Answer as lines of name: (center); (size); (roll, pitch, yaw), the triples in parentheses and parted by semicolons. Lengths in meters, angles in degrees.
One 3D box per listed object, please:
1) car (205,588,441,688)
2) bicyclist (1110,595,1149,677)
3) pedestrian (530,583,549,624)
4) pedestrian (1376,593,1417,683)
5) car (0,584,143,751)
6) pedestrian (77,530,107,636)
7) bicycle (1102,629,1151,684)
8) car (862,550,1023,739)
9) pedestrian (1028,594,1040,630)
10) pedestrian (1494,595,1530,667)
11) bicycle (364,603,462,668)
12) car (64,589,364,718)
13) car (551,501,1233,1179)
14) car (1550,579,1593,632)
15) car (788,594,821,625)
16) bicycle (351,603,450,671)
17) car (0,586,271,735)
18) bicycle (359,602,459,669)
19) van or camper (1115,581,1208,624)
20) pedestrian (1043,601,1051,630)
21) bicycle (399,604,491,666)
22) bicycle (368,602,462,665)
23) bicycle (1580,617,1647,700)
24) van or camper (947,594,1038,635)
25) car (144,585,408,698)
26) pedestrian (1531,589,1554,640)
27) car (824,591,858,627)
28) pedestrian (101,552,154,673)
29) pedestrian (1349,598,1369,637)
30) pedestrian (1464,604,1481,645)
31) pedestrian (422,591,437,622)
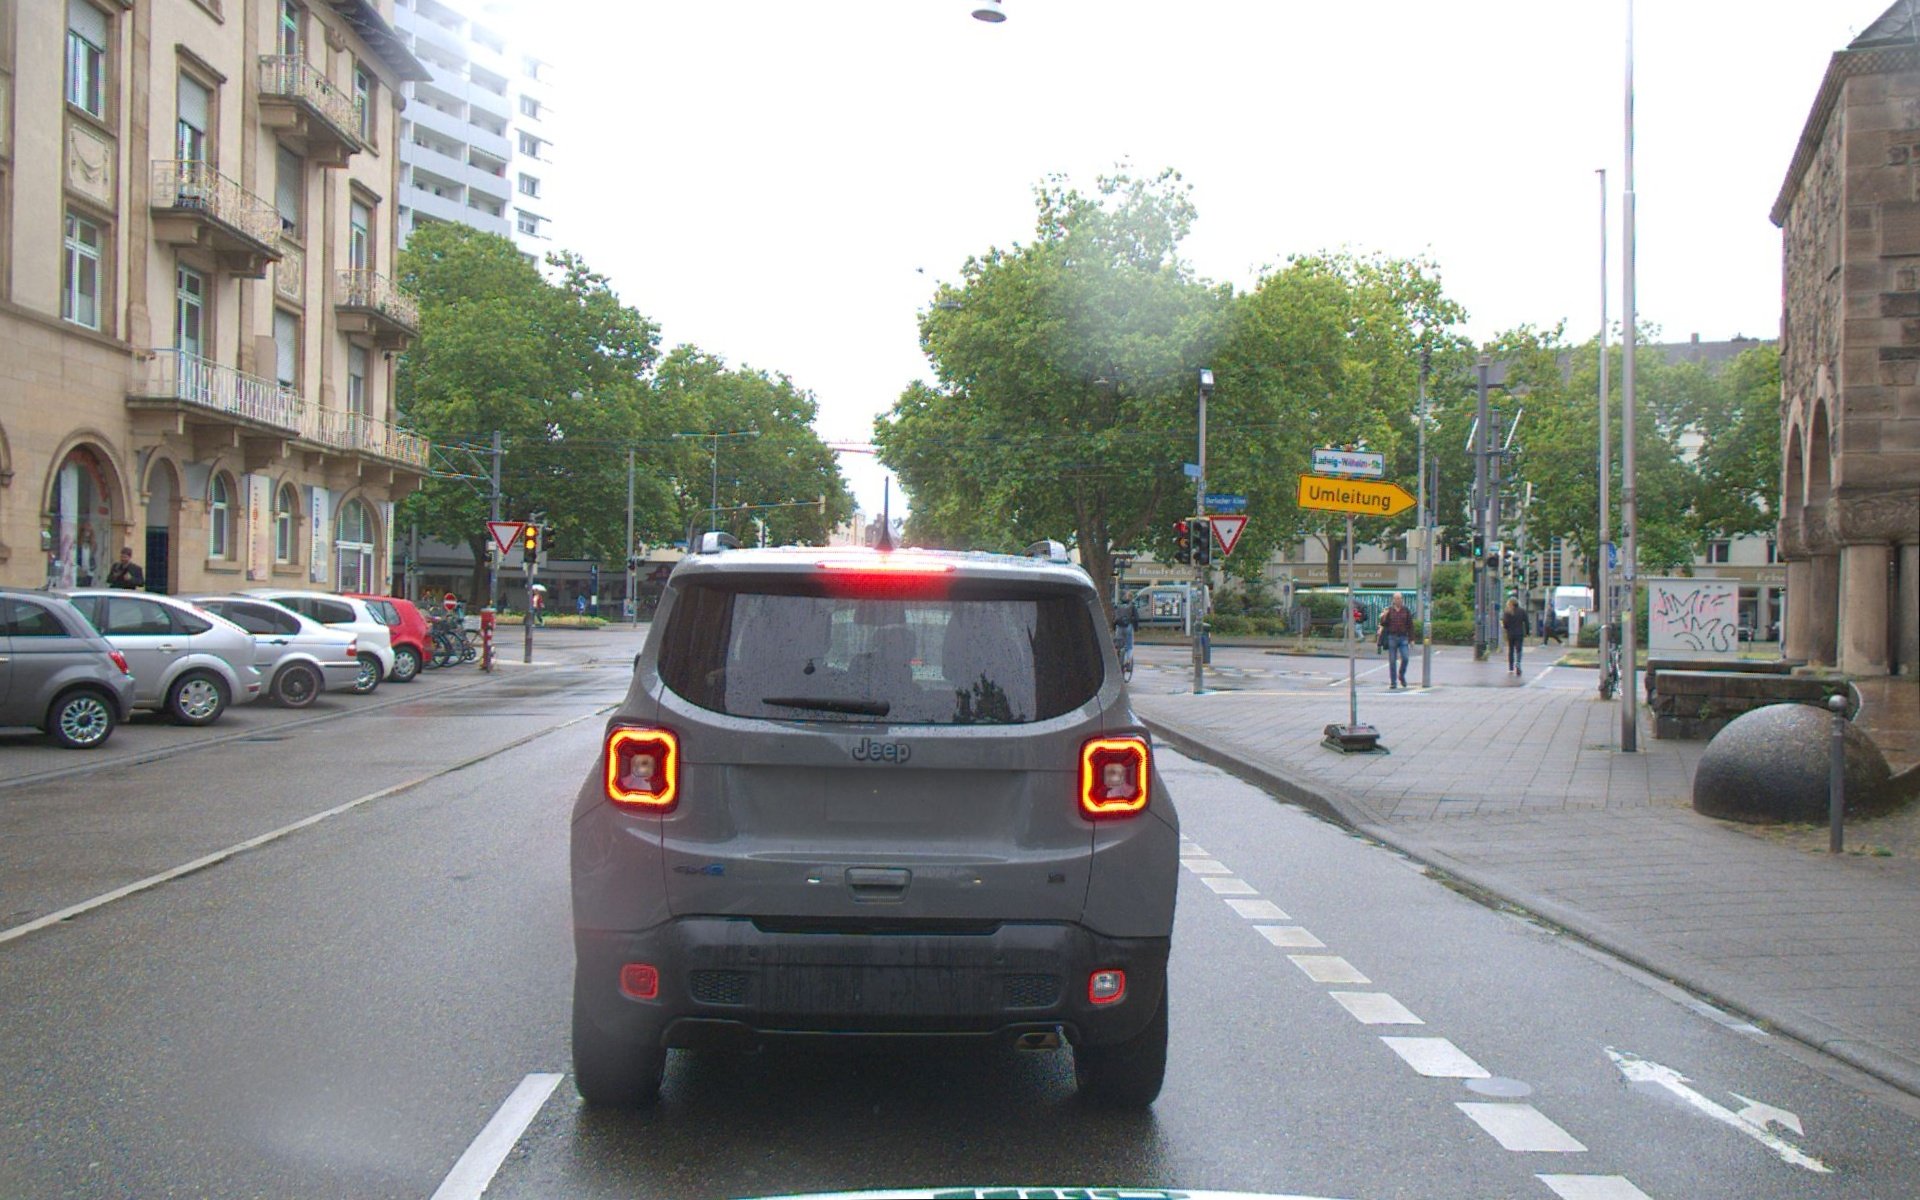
car: (-10.736, 0.615, 27.963); (3.372, 1.585, 1.681); (1, 0, -41)
bicyclist: (3.471, 0.720, 33.811); (0.672, 1.646, 0.884); (0, 0, 13)
pedestrian: (-18.961, 0.163, 74.575); (0.605, 1.858, 0.695); (0, 0, 12)
pedestrian: (8.757, 0.752, 33.216); (0.769, 1.790, 0.946); (0, 0, 14)
car: (-9.955, 0.635, 16.039); (3.372, 1.585, 1.628); (1, 0, -41)
pedestrian: (-15.377, -0.296, 29.304); (0.359, 1.854, 0.347); (0, -1, -4)
bicycle: (3.405, 1.129, 33.705); (0.677, 1.039, 2.660); (0, 0, 13)
car: (-0.234, 0.481, 20.082); (1.734, 2.049, 3.999); (1, 0, -1)
pedestrian: (4.147, 0.665, 92.693); (0.637, 2.049, 0.483); (0, 0, 11)
pedestrian: (12.989, 0.726, 38.909); (0.767, 1.674, 0.655); (0, 0, 23)
bicycle: (-10.914, 0.699, 33.022); (1.774, 1.288, 0.498); (0, 0, -3)
car: (-9.996, 0.672, 22.250); (3.372, 1.585, 1.681); (1, 0, -41)
car: (-0.231, 0.604, 6.167); (1.739, 1.716, 3.846); (0, 0, -2)
car: (31.218, 0.280, 84.341); (1.868, 2.600, 4.786); (0, 0, 22)
car: (-8.787, 0.500, 93.381); (1.779, 1.700, 3.916); (1, 0, -5)
bicycle: (-10.746, 0.701, 31.795); (1.728, 1.288, 0.522); (0, 0, -3)
car: (-9.951, 0.650, 19.068); (3.372, 1.585, 1.681); (1, 0, -41)
bicycle: (-10.774, 0.692, 32.341); (1.774, 1.288, 0.498); (0, 0, -3)
van or camper: (11.524, 0.136, 94.972); (5.149, 2.356, 2.090); (1, 0, 3)
pedestrian: (5.291, 0.925, 100.744); (0.448, 1.733, 0.424); (1, 0, -1)
bicycle: (-10.867, 0.728, 34.930); (1.728, 1.288, 0.608); (0, 0, -3)
bicycle: (-11.201, 0.681, 34.045); (1.728, 1.288, 0.608); (0, 0, -3)
bicycle: (9.826, 0.852, 24.925); (0.322, 1.174, 2.076); (0, 0, 4)
van or camper: (2.440, 1.066, 124.781); (6.395, 2.963, 2.493); (0, 0, 24)
car: (-10.349, 0.595, 25.102); (3.372, 1.585, 1.681); (1, 0, -41)
pedestrian: (23.162, 0.574, 65.783); (0.789, 2.049, 0.589); (0, 0, 26)
car: (-6.083, 0.440, 84.390); (1.688, 1.769, 3.726); (1, 0, -5)
pedestrian: (-14.362, 0.211, 28.549); (0.556, 2.049, 0.654); (1, 0, -1)
pedestrian: (16.529, 0.738, 68.487); (0.660, 1.581, 0.761); (0, -2, 27)
pedestrian: (20.765, 0.980, 66.967); (0.600, 1.631, 0.494); (0, 0, 23)
pedestrian: (-26.814, 0.323, 83.594); (0.432, 1.556, 0.644); (0, 0, 17)
